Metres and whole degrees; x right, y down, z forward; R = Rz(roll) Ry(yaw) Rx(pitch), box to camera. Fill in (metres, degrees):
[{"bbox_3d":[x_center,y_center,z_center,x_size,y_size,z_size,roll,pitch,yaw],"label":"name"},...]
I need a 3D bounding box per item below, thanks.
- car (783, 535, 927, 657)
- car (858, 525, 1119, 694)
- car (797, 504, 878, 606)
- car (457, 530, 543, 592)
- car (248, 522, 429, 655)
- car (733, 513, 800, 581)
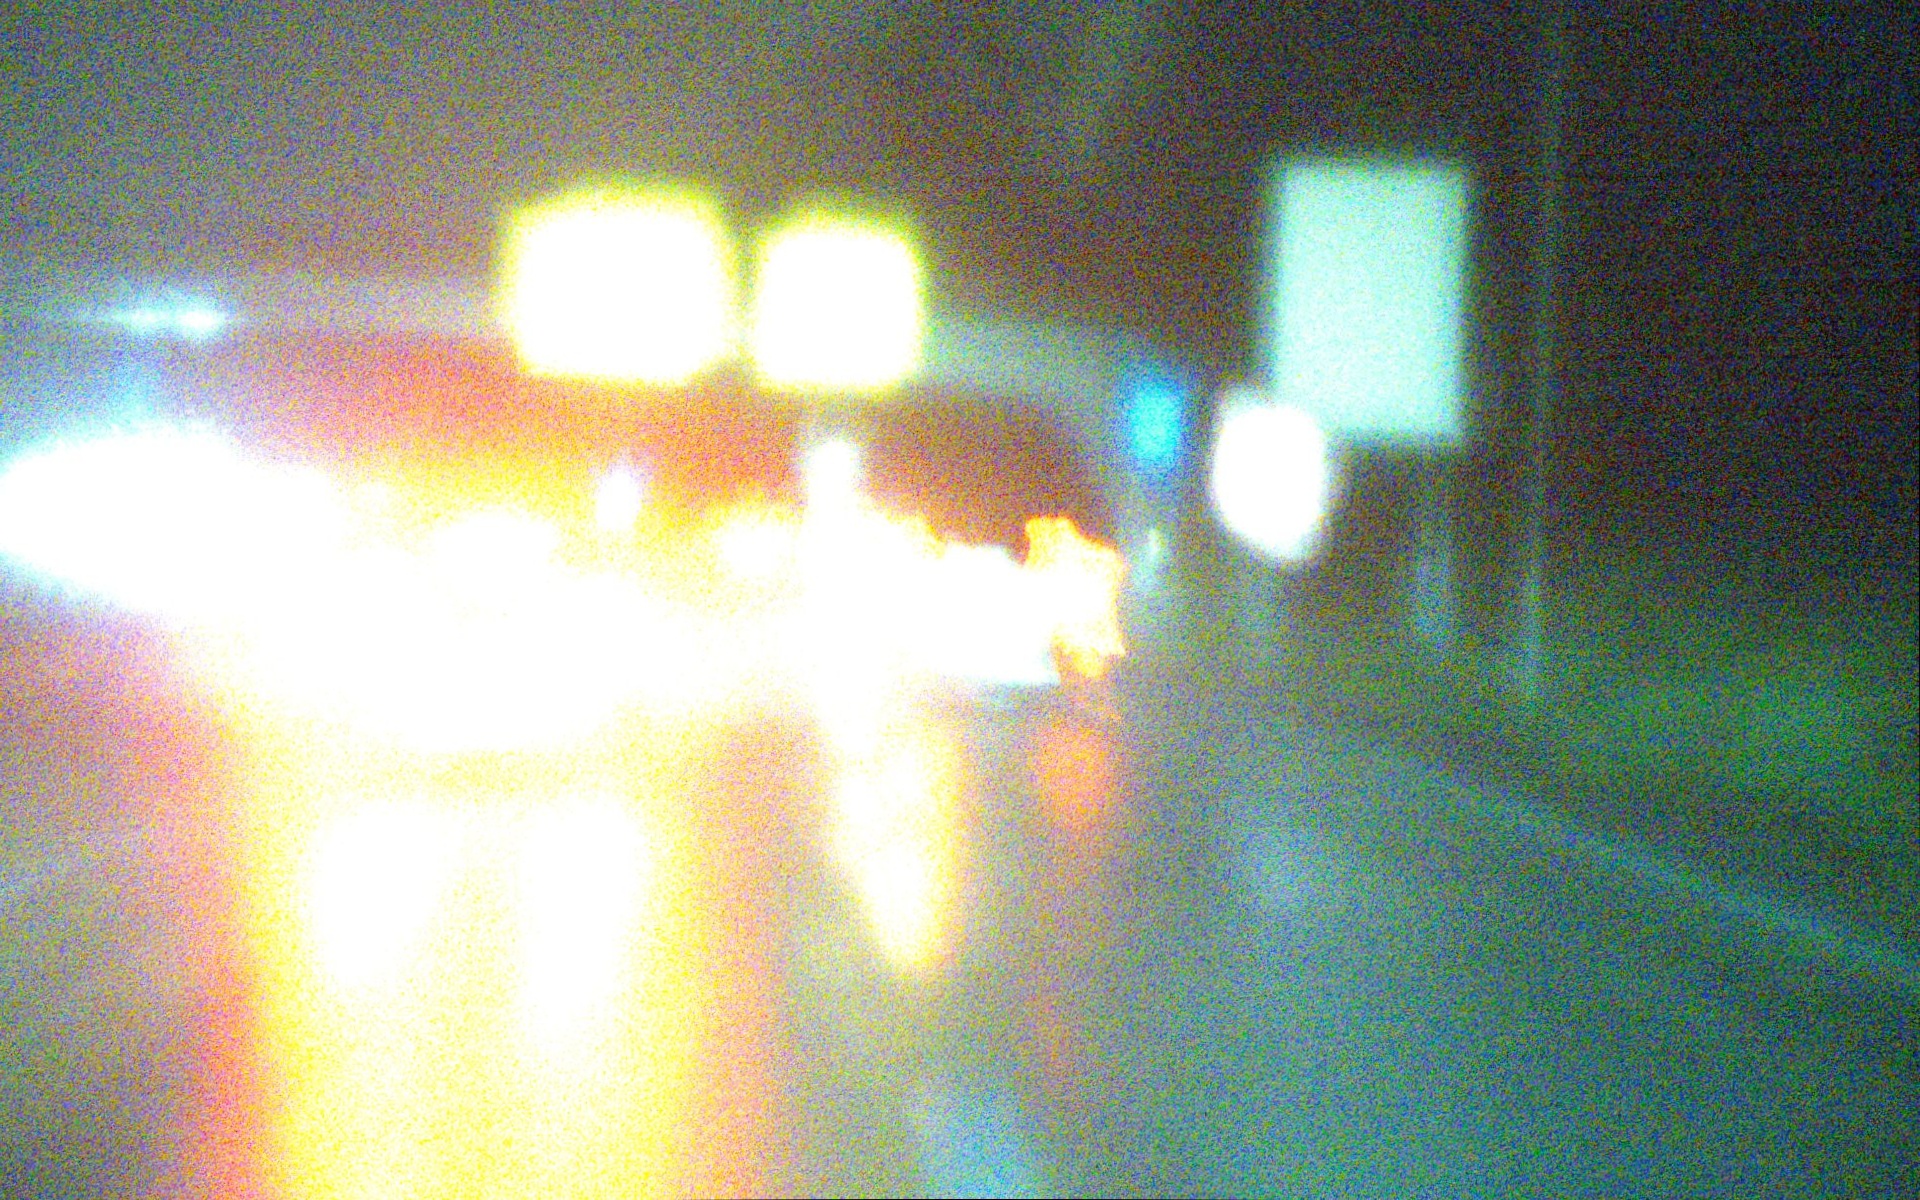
[{"bbox_3d":[-1.391,-0.072,44.313,1.707,1.482,3.667,1,1,-4],"label":"car"},{"bbox_3d":[0.183,0.066,30.993,1.962,1.376,4.050,1,0,-5],"label":"car"},{"bbox_3d":[-2.514,-0.939,69.786,1.553,2.007,4.001,1,1,-3],"label":"car"},{"bbox_3d":[-11.903,-1.021,89.187,1.895,1.539,4.001,1,1,-3],"label":"car"},{"bbox_3d":[-7.634,-0.156,42.537,1.892,1.545,4.001,1,1,-6],"label":"car"},{"bbox_3d":[-5.981,-1.621,105.988,1.993,2.007,4.001,1,1,-4],"label":"car"}]
